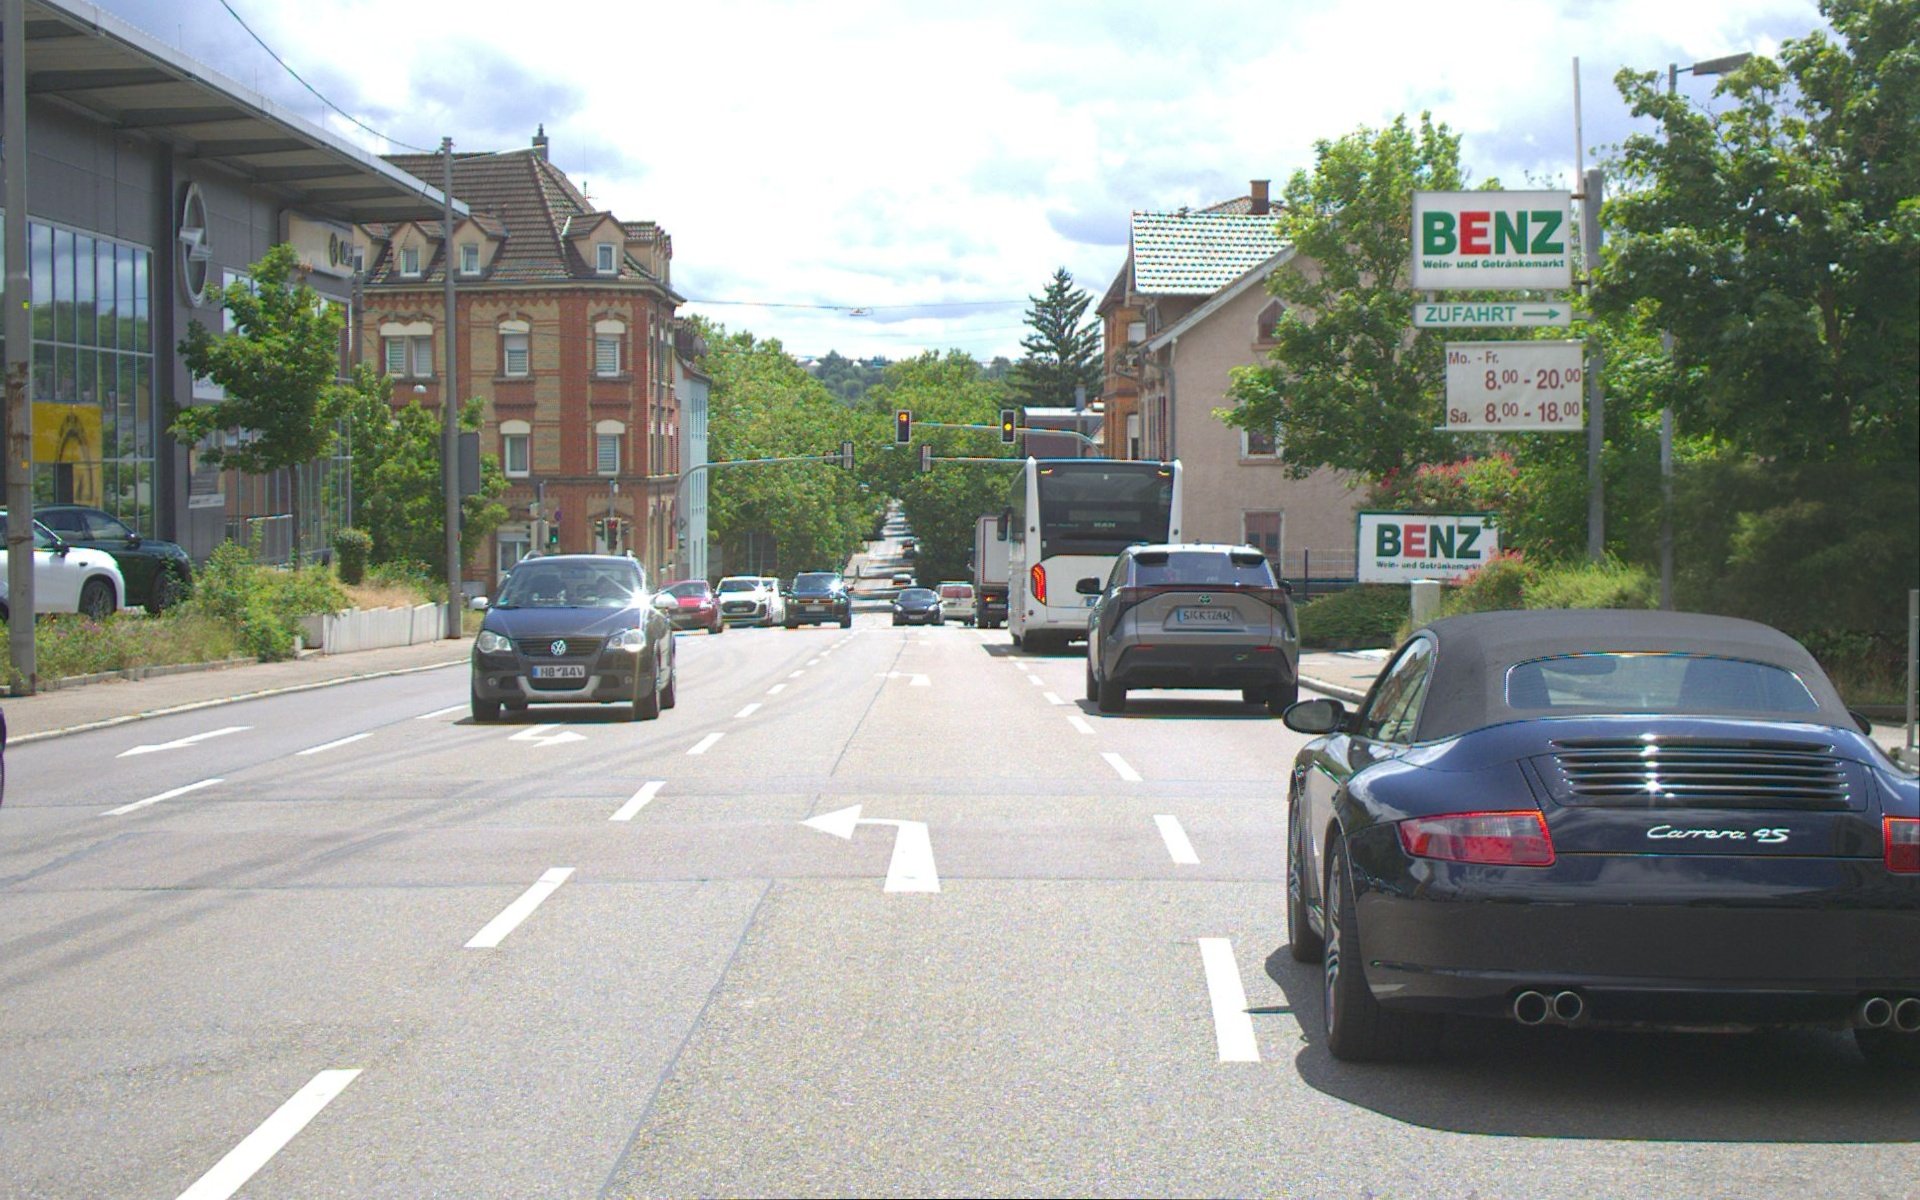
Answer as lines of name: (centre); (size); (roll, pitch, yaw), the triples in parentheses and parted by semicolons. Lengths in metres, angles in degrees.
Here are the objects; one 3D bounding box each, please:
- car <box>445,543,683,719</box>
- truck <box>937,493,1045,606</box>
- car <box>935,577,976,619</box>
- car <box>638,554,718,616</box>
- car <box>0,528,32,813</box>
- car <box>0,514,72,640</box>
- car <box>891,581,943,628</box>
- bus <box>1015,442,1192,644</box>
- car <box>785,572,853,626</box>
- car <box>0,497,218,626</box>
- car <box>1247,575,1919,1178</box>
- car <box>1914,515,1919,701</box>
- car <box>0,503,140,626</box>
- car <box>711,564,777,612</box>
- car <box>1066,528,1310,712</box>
car: (-3.612, 0.243, 32.016); (1.829, 1.504, 4.277); (-1, 1, -2)
truck: (0.835, -1.433, 100.712); (2.666, 3.097, 9.036); (-1, 0, -2)
car: (-0.238, -0.090, 164.996); (1.832, 1.875, 4.001); (-1, 2, -2)
car: (-7.299, -0.399, 89.280); (1.871, 1.486, 3.849); (-3, 1, -3)
car: (-6.221, 0.467, 17.809); (1.743, 1.590, 4.043); (-3, 1, -1)
car: (-12.618, -0.224, 39.535); (1.897, 1.445, 4.825); (1, 3, 28)
car: (-1.607, 0.147, 126.248); (1.864, 1.660, 4.259); (0, 0, -1)
bus: (2.432, -1.184, 60.802); (2.802, 3.186, 12.197); (0, 3, 1)
car: (-4.075, -0.045, 99.846); (1.864, 1.535, 4.107); (0, 0, -1)
car: (-12.925, -0.603, 49.649); (1.996, 1.692, 4.479); (1, 3, 26)
car: (1.956, 0.693, 10.896); (1.931, 1.372, 4.208); (0, 3, 3)
car: (11.985, 0.016, 33.463); (4.706, 1.842, 2.089); (-2, 0, -7)
car: (-12.848, -0.459, 44.643); (1.933, 1.567, 4.548); (0, 1, 23)
car: (-6.936, -0.396, 110.844); (1.864, 1.535, 4.107); (0, 0, 0)
car: (2.133, 0.137, 33.314); (1.930, 1.577, 4.209); (0, 2, -2)
